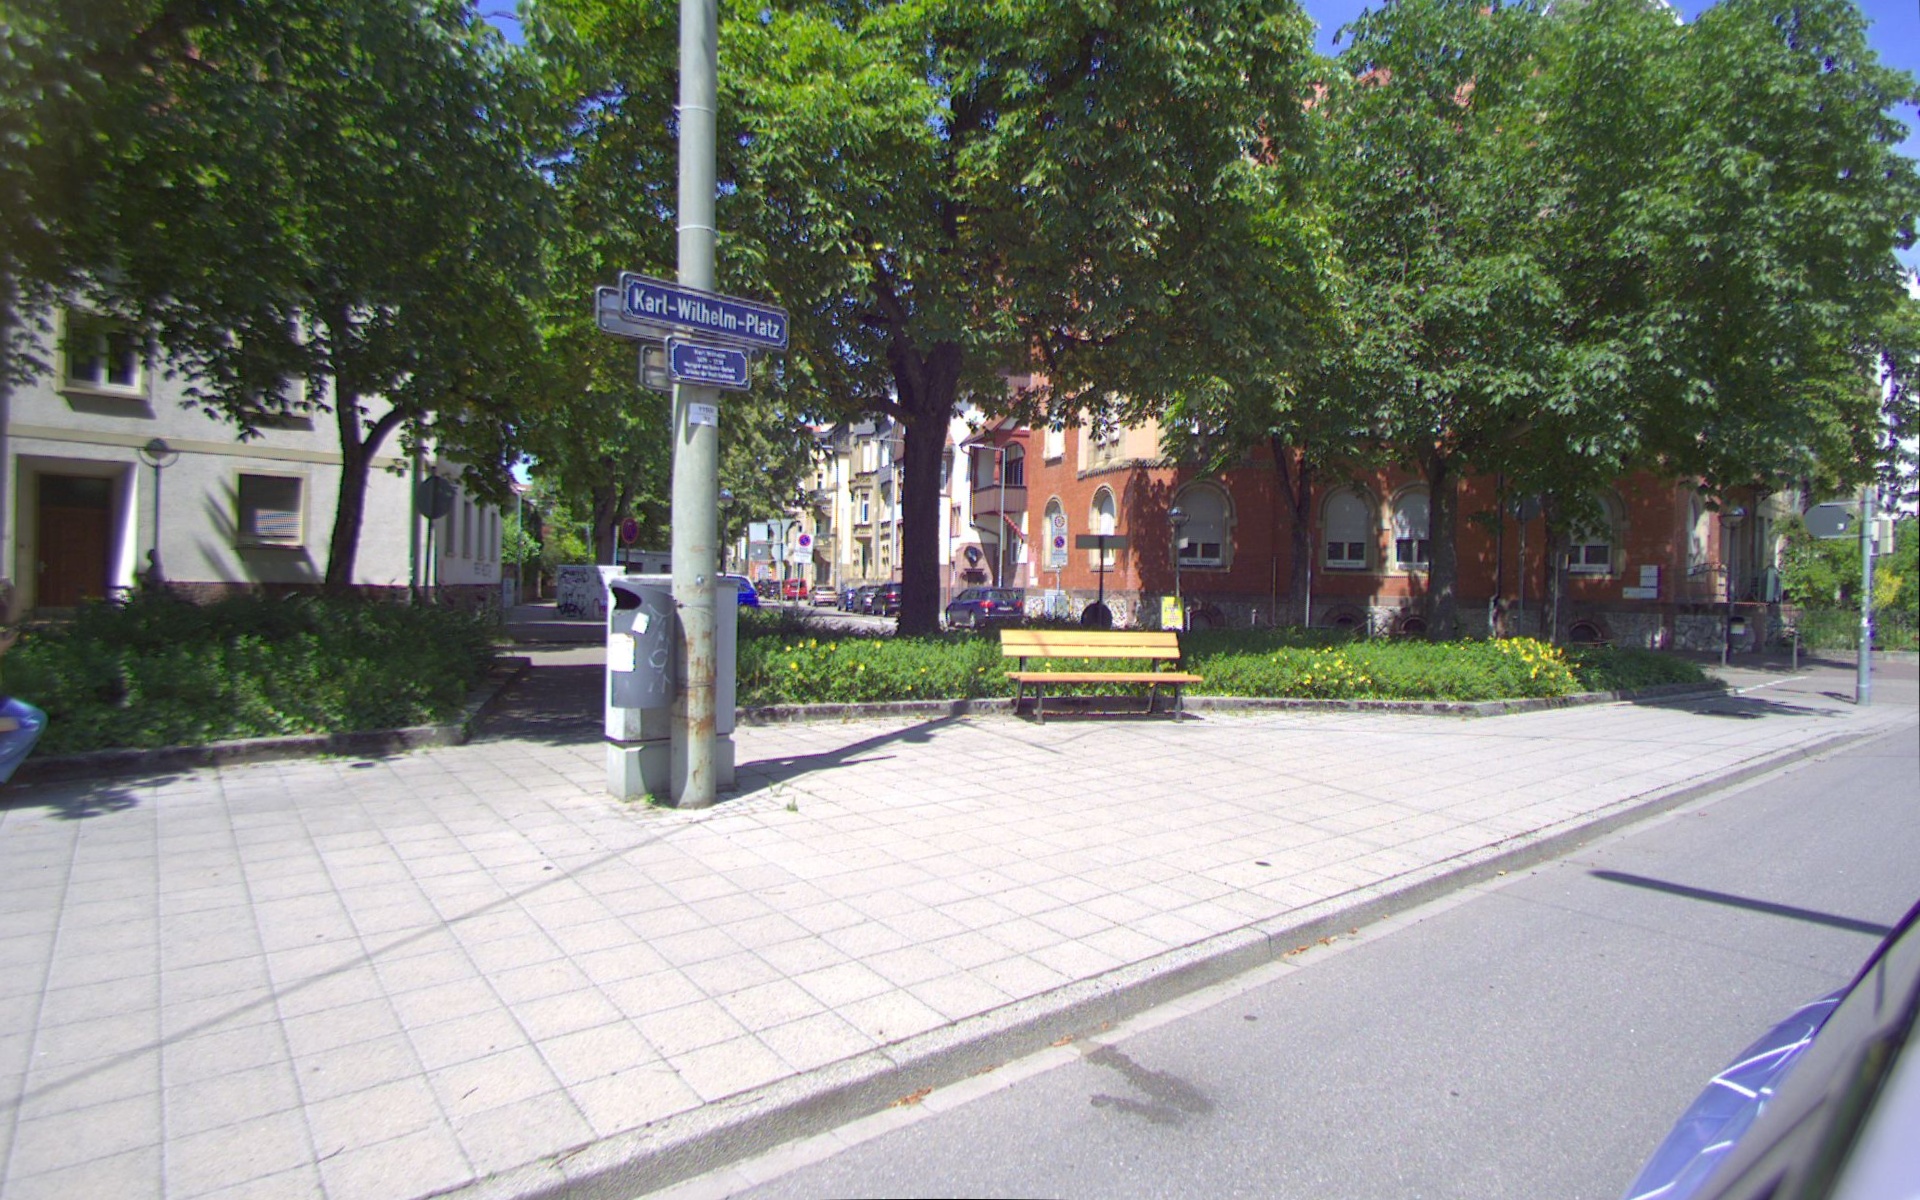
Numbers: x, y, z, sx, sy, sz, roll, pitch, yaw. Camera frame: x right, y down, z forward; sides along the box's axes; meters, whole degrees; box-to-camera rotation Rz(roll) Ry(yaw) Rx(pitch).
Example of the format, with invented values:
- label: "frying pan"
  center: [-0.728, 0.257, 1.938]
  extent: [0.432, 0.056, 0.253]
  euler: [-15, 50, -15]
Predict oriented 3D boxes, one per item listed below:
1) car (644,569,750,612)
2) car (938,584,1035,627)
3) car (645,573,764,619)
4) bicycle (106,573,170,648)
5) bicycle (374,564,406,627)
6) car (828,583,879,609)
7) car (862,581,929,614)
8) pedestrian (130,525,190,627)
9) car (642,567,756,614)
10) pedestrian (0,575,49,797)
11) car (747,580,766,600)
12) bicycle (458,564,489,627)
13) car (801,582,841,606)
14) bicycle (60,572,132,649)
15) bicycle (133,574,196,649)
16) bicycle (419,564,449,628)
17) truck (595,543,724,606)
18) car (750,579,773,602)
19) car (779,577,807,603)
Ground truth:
- label: "car"
  center: [-11.161, -0.407, 42.953]
  extent: [4.176, 1.673, 1.731]
  euler: [2, 0, -20]
- label: "car"
  center: [0.869, 0.157, 36.341]
  extent: [1.865, 1.459, 4.769]
  euler: [0, 1, -20]
- label: "car"
  center: [-8.876, -0.125, 35.109]
  extent: [3.807, 1.447, 1.731]
  euler: [2, 0, -20]
- label: "bicycle"
  center: [-15.655, 0.175, 19.315]
  extent: [0.504, 1.364, 2.247]
  euler: [0, 0, -27]
- label: "bicycle"
  center: [-12.394, -0.106, 22.026]
  extent: [0.536, 1.316, 2.162]
  euler: [0, 0, -27]
- label: "car"
  center: [-6.305, -0.238, 59.432]
  extent: [1.865, 1.482, 4.625]
  euler: [0, 1, -20]
- label: "car"
  center: [-3.236, -0.144, 49.611]
  extent: [1.946, 1.551, 5.502]
  euler: [0, 1, -18]
- label: "pedestrian"
  center: [-16.385, -0.492, 20.754]
  extent: [0.757, 2.039, 0.809]
  euler: [0, 0, -21]
- label: "car"
  center: [-10.328, -0.361, 40.061]
  extent: [4.176, 1.673, 1.731]
  euler: [2, 0, -20]
- label: "pedestrian"
  center: [-5.092, 0.428, 5.233]
  extent: [0.469, 1.105, 0.511]
  euler: [2, 1, -34]
- label: "car"
  center: [-21.125, -1.044, 104.953]
  extent: [1.705, 2.039, 4.008]
  euler: [0, 1, -15]
- label: "bicycle"
  center: [-10.632, -0.112, 22.109]
  extent: [0.536, 1.316, 2.162]
  euler: [0, 0, -27]
- label: "car"
  center: [-9.634, -0.439, 69.844]
  extent: [1.865, 1.575, 4.411]
  euler: [0, 1, -20]
- label: "bicycle"
  center: [-16.204, 0.165, 19.027]
  extent: [0.504, 1.361, 2.332]
  euler: [0, 0, -27]
- label: "bicycle"
  center: [-14.956, 0.191, 19.067]
  extent: [0.536, 1.316, 2.162]
  euler: [0, 0, -27]
- label: "bicycle"
  center: [-11.404, -0.101, 21.944]
  extent: [0.536, 1.316, 2.162]
  euler: [0, 0, -27]
- label: "truck"
  center: [-16.624, -1.356, 56.114]
  extent: [6.685, 3.193, 1.939]
  euler: [2, 0, -19]
- label: "car"
  center: [-18.432, -0.902, 93.960]
  extent: [1.777, 2.039, 3.675]
  euler: [0, 1, -15]
- label: "car"
  center: [-13.785, -0.810, 83.279]
  extent: [1.868, 2.039, 4.008]
  euler: [0, 1, -15]
